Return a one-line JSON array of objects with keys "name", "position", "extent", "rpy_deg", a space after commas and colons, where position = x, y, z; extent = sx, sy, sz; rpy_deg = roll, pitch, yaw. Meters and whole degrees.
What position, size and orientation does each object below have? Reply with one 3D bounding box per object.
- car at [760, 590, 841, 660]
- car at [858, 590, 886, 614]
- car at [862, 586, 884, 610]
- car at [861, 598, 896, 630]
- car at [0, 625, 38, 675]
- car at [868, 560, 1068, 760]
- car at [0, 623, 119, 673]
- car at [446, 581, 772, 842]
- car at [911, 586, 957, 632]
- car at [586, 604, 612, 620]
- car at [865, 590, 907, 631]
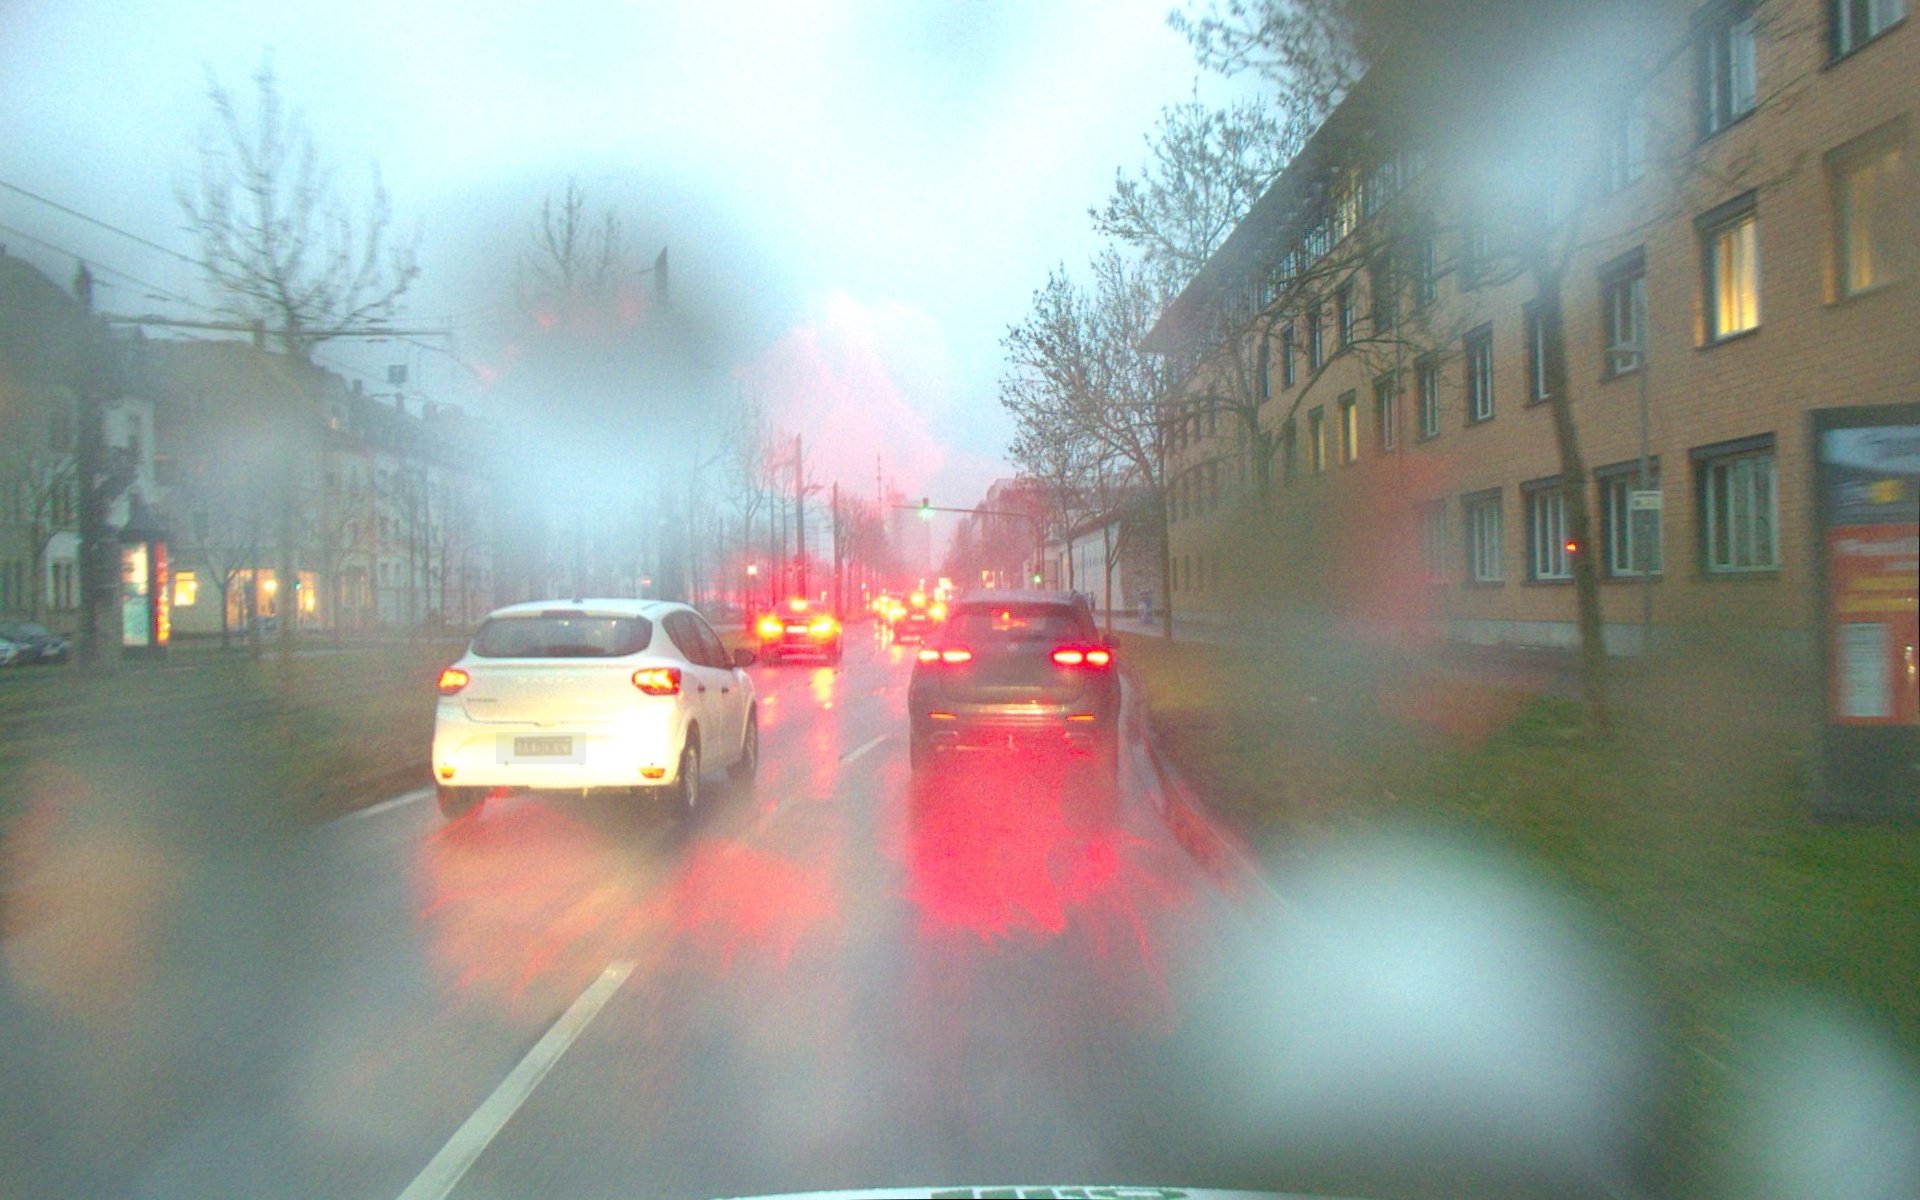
[{"name": "car", "position": [-3.879, 0.582, 40.740], "extent": [1.638, 1.628, 4.053], "rpy_deg": [-1, 0, -1]}, {"name": "car", "position": [-6.817, 0.129, 128.873], "extent": [1.953, 1.747, 4.000], "rpy_deg": [-2, 0, 0]}, {"name": "car", "position": [-7.836, -0.207, 149.585], "extent": [1.779, 2.049, 4.000], "rpy_deg": [-2, 0, 0]}, {"name": "car", "position": [-5.003, 0.831, 101.923], "extent": [1.901, 1.870, 4.000], "rpy_deg": [-2, 0, 0]}, {"name": "car", "position": [-27.990, 1.446, 46.668], "extent": [3.920, 1.355, 1.992], "rpy_deg": [-2, 0, 36]}, {"name": "car", "position": [0.036, 0.489, 15.623], "extent": [1.638, 1.628, 4.053], "rpy_deg": [-1, 0, -1]}, {"name": "car", "position": [-27.511, 1.462, 50.206], "extent": [3.920, 1.355, 1.992], "rpy_deg": [-2, 0, 36]}, {"name": "car", "position": [-2.447, 0.701, 12.484], "extent": [1.638, 1.628, 4.053], "rpy_deg": [-1, 0, -1]}, {"name": "car", "position": [-0.971, 0.309, 61.213], "extent": [1.638, 1.628, 4.053], "rpy_deg": [-1, 0, -1]}, {"name": "car", "position": [-33.304, 1.067, 152.568], "extent": [1.740, 1.377, 3.555], "rpy_deg": [-2, 1, -2]}, {"name": "car", "position": [-3.850, 0.531, 86.378], "extent": [1.953, 2.049, 4.000], "rpy_deg": [-2, 0, 0]}]
